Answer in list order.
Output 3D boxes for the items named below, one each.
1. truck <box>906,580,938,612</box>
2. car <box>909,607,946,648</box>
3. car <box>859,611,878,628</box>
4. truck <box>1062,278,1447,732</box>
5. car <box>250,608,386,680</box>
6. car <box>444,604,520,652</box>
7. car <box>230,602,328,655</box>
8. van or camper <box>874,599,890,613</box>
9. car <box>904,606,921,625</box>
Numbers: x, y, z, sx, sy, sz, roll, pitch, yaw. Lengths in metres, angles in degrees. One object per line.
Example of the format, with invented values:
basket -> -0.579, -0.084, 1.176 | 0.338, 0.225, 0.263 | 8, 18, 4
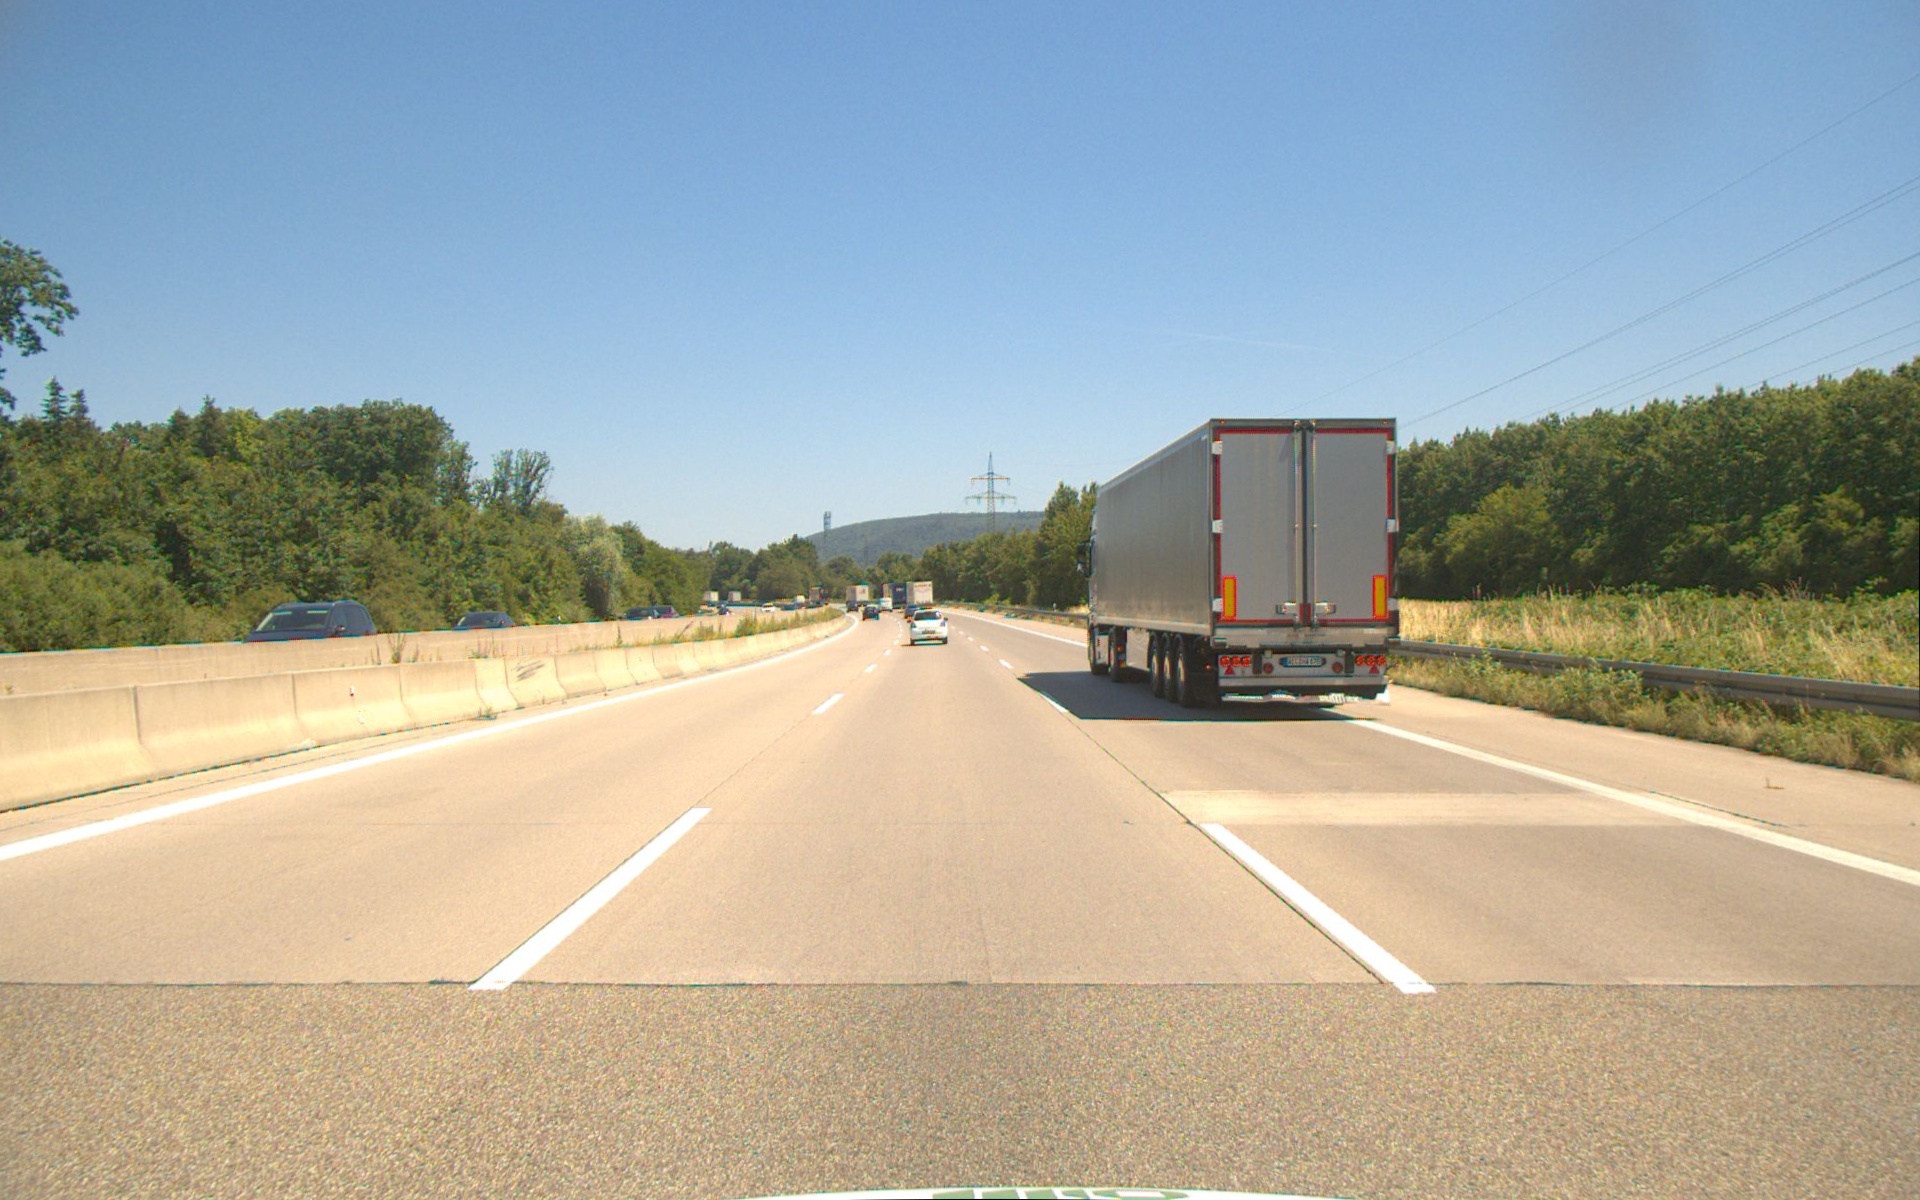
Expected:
truck -> -5.286, -0.599, 225.561 | 3.745, 3.956, 14.144 | -4, 1, -3
car -> -1.431, 1.200, 73.328 | 1.608, 1.691, 3.360 | 1, 1, -1
car -> -9.868, 2.123, 178.853 | 1.982, 1.730, 3.997 | 2, 0, -4
truck -> 4.410, -1.374, 30.666 | 3.505, 5.888, 18.243 | 0, 1, -1
car -> -13.612, 0.901, 35.263 | 1.528, 1.443, 3.522 | -1, 0, 0
car -> -17.645, 1.019, 61.208 | 1.669, 1.687, 4.404 | -1, 0, -2
car -> -22.513, 0.919, 54.813 | 1.669, 1.687, 4.088 | -1, 0, -2
van or camper -> -11.225, 0.918, 238.522 | 1.832, 1.869, 3.993 | -4, 1, -7
car -> -5.015, 1.602, 173.686 | 1.579, 1.755, 3.570 | -4, 1, -4
